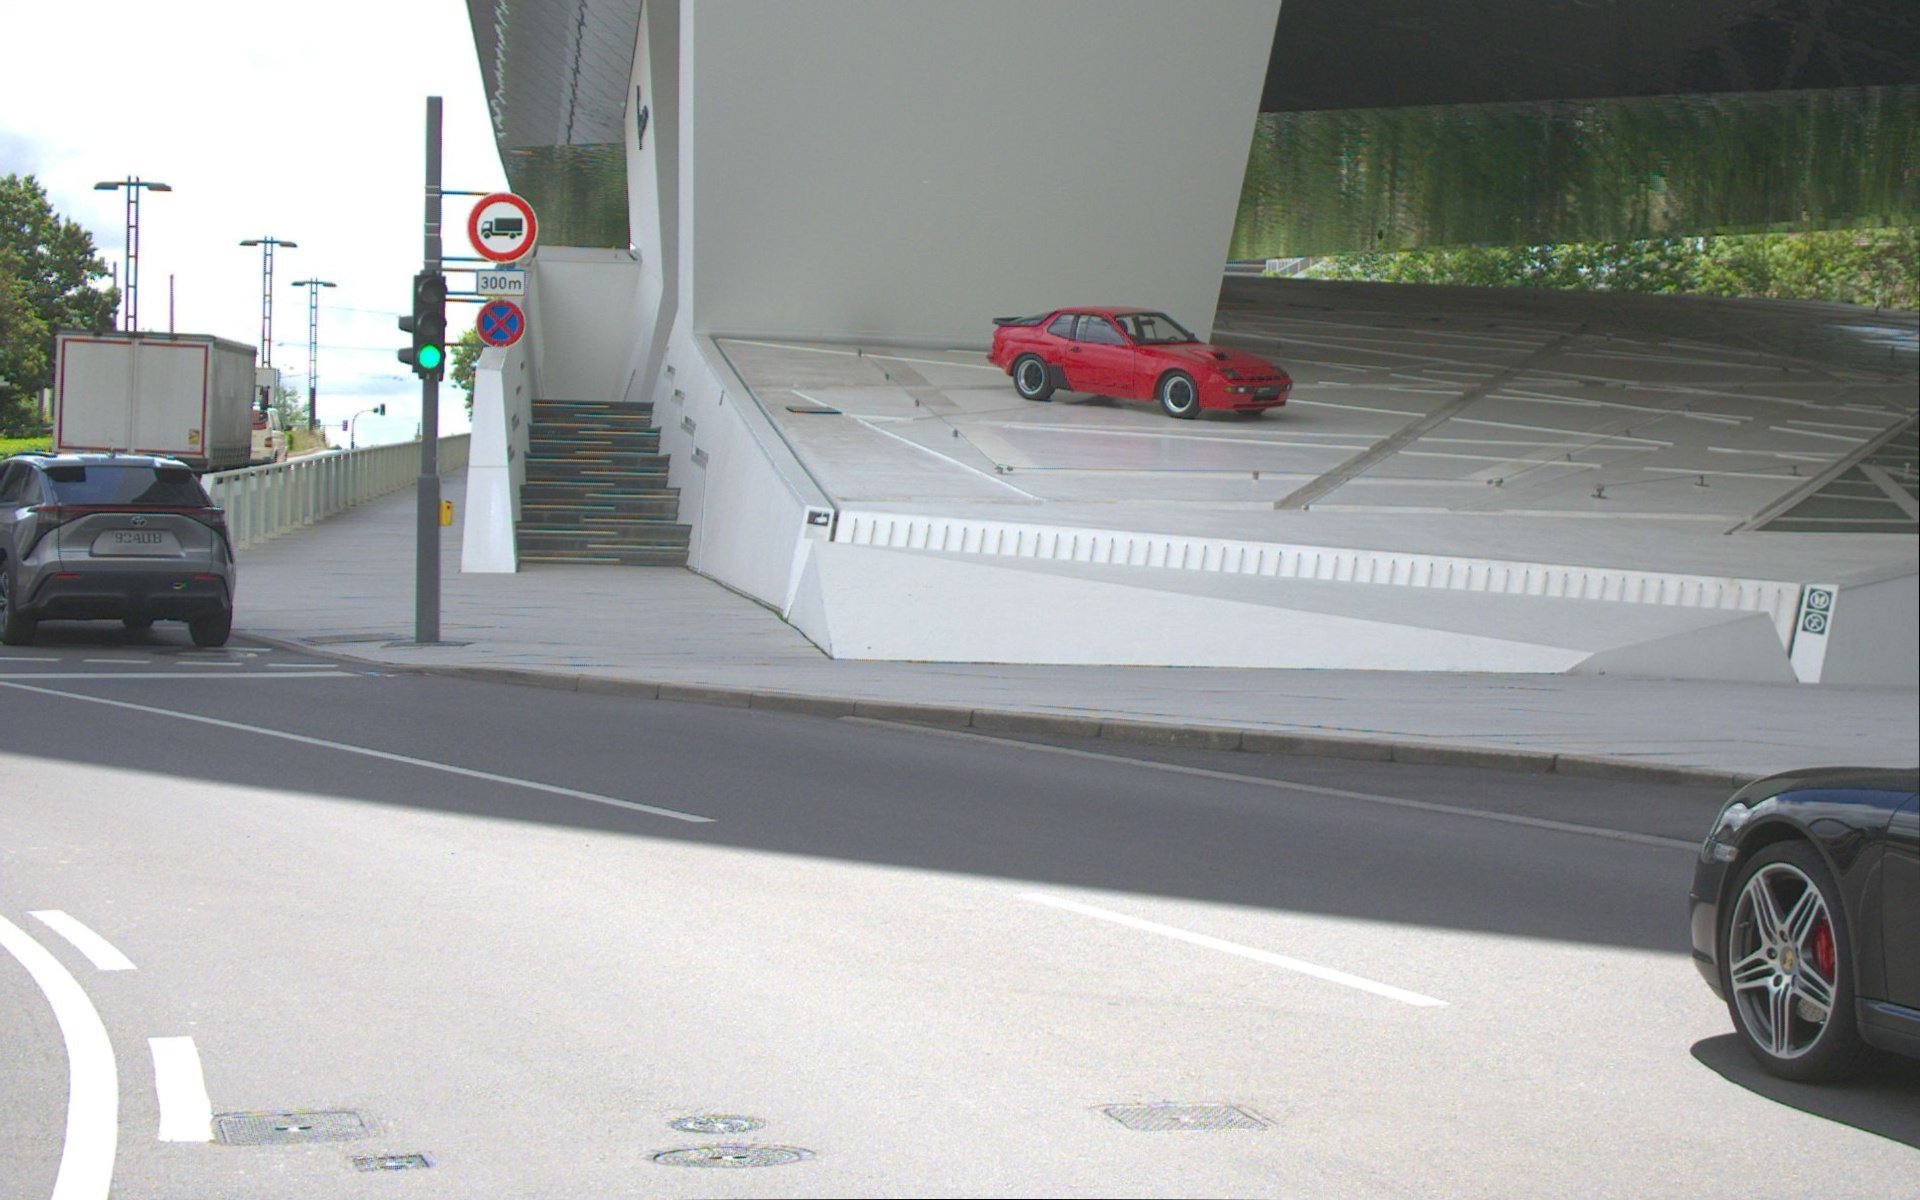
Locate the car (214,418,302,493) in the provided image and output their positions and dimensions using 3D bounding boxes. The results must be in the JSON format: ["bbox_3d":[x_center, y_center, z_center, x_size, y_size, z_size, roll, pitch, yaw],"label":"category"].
[{"bbox_3d":[-19.949,-4.090,97.874,1.993,1.897,4.001,2,0,-6],"label":"car"}]

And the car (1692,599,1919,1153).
[{"bbox_3d":[3.396,0.723,7.969,1.833,1.321,4.001,1,1,-12],"label":"car"}]

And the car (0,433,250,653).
[{"bbox_3d":[-7.532,-0.546,29.518,1.993,1.631,4.002,2,4,-23],"label":"car"}]

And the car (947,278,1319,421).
[{"bbox_3d":[2.219,-3.309,44.987,4.509,1.390,1.995,11,11,40],"label":"car"}]

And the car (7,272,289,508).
[{"bbox_3d":[-14.218,-3.567,61.025,3.335,3.492,9.343,2,0,-4],"label":"car"}]
